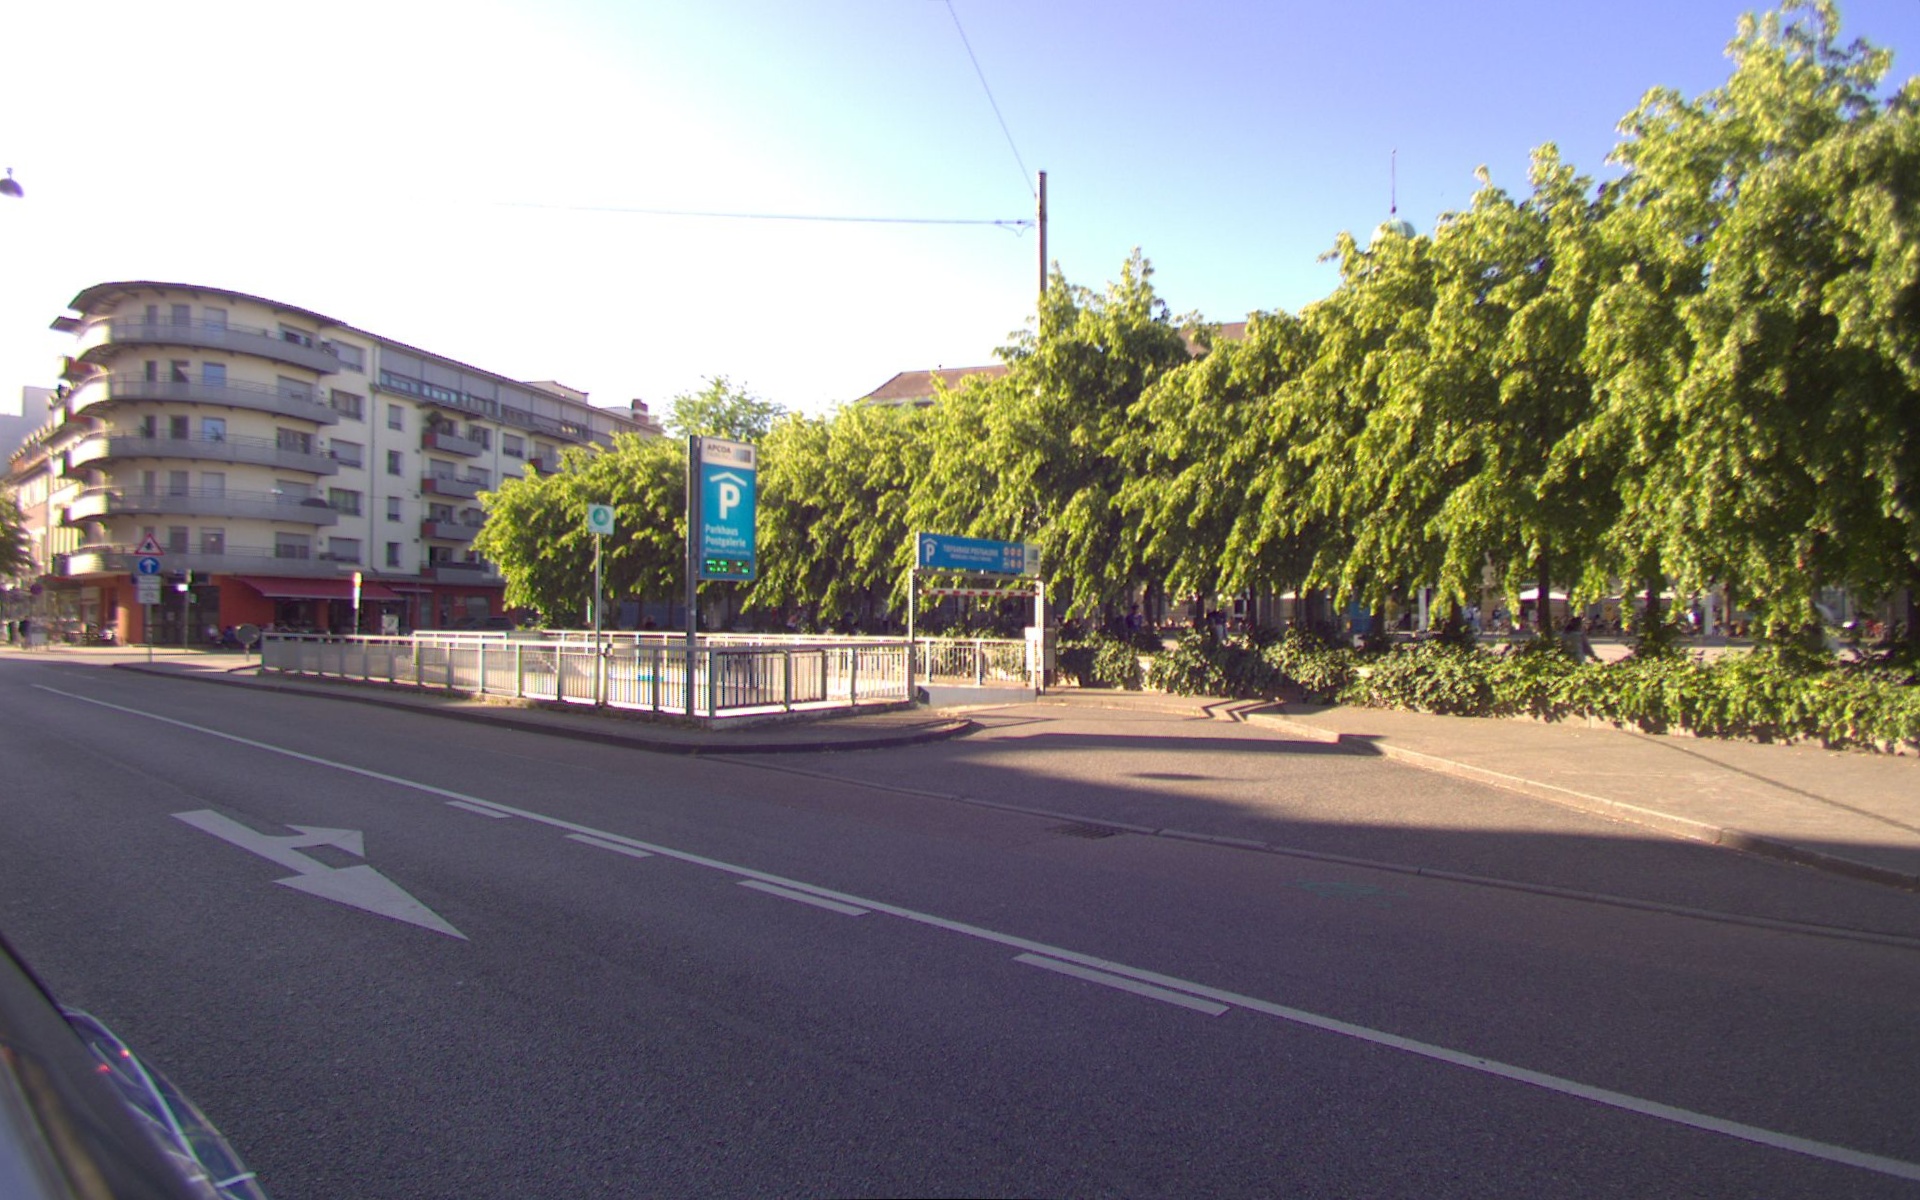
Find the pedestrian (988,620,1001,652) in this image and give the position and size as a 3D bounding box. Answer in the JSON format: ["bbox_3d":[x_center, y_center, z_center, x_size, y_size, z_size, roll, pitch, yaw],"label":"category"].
[{"bbox_3d":[1.942,2.012,56.718,0.578,1.806,0.597,-1,0,20],"label":"pedestrian"}]

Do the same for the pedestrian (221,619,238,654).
[{"bbox_3d":[-36.794,1.832,50.987,0.642,1.721,0.568,-2,-2,43],"label":"pedestrian"}]

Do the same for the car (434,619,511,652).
[{"bbox_3d":[-30.452,2.205,63.371,1.938,1.927,4.403,-1,-1,16],"label":"car"}]

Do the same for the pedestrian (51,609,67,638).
[{"bbox_3d":[-52.226,1.351,58.650,0.792,1.634,0.563,-1,-1,37],"label":"pedestrian"}]

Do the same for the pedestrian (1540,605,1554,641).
[{"bbox_3d":[30.060,1.175,51.838,0.580,1.806,0.596,-1,0,27],"label":"pedestrian"}]

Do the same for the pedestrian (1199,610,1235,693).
[{"bbox_3d":[5.959,1.178,23.458,0.674,1.870,0.577,-1,-1,30],"label":"pedestrian"}]

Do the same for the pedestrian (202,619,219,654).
[{"bbox_3d":[-37.454,1.822,50.592,0.642,1.721,0.568,-2,-2,43],"label":"pedestrian"}]

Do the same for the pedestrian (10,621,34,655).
[{"bbox_3d":[-45.666,1.841,49.261,0.695,1.627,0.765,-1,-1,37],"label":"pedestrian"}]

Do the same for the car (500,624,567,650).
[{"bbox_3d":[-28.886,2.483,68.612,1.938,1.633,4.272,-1,-1,16],"label":"car"}]

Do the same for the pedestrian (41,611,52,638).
[{"bbox_3d":[-52.580,1.401,58.227,0.515,1.541,0.371,-1,-1,37],"label":"pedestrian"}]

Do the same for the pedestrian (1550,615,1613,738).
[{"bbox_3d":[9.796,1.173,15.954,0.732,1.870,0.574,-1,-1,44],"label":"pedestrian"}]

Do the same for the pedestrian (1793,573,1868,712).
[{"bbox_3d":[11.967,0.572,13.931,0.597,1.870,0.578,-1,0,22],"label":"pedestrian"}]

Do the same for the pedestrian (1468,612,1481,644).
[{"bbox_3d":[29.025,1.577,57.077,0.598,1.806,0.577,-1,-1,27],"label":"pedestrian"}]

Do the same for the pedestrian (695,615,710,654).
[{"bbox_3d":[-11.992,1.592,47.151,0.574,1.806,0.602,0,0,-5],"label":"pedestrian"}]

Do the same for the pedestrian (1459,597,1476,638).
[{"bbox_3d":[22.346,0.779,44.540,0.599,1.806,0.576,-1,-1,31],"label":"pedestrian"}]

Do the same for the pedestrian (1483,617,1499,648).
[{"bbox_3d":[31.156,1.917,59.404,0.593,1.806,0.583,-1,0,0],"label":"pedestrian"}]
